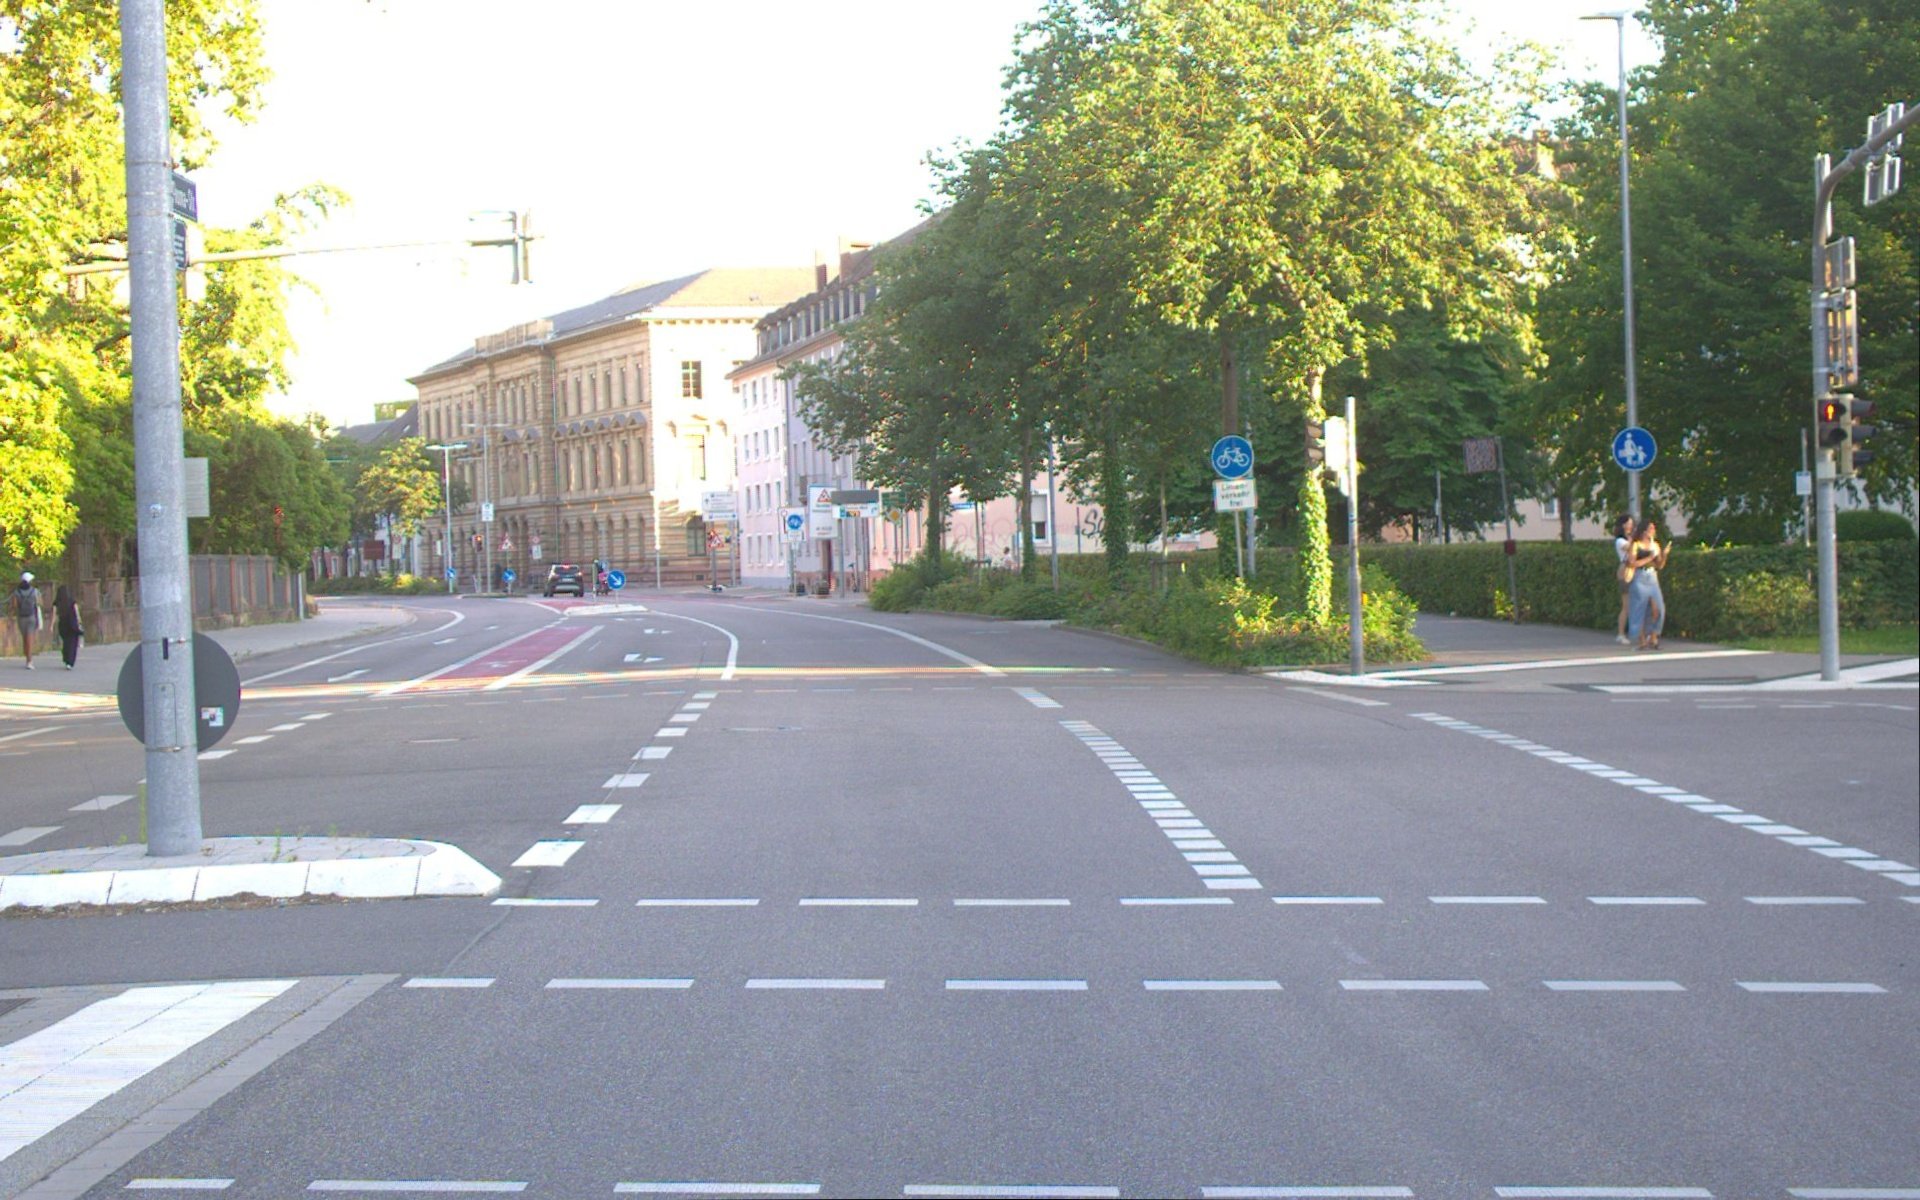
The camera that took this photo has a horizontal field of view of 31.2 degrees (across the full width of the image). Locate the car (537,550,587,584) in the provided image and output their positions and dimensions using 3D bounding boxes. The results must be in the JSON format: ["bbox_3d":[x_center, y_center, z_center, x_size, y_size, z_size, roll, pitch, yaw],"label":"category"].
[{"bbox_3d":[-19.663,-1.644,169.729,1.819,1.583,4.001,-3,1,-14],"label":"car"}]

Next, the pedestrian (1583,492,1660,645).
[{"bbox_3d":[8.753,-0.419,45.518,0.870,2.007,0.722,0,1,-1],"label":"pedestrian"}]

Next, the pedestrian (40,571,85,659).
[{"bbox_3d":[-16.209,0.263,62.121,0.599,1.568,0.646,-2,1,-1],"label":"pedestrian"}]

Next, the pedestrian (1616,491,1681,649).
[{"bbox_3d":[8.811,-0.384,44.037,0.635,2.007,0.720,-1,1,-4],"label":"pedestrian"}]

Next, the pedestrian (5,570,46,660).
[{"bbox_3d":[-16.879,0.263,62.103,0.535,1.591,0.590,-2,1,-1],"label":"pedestrian"}]
